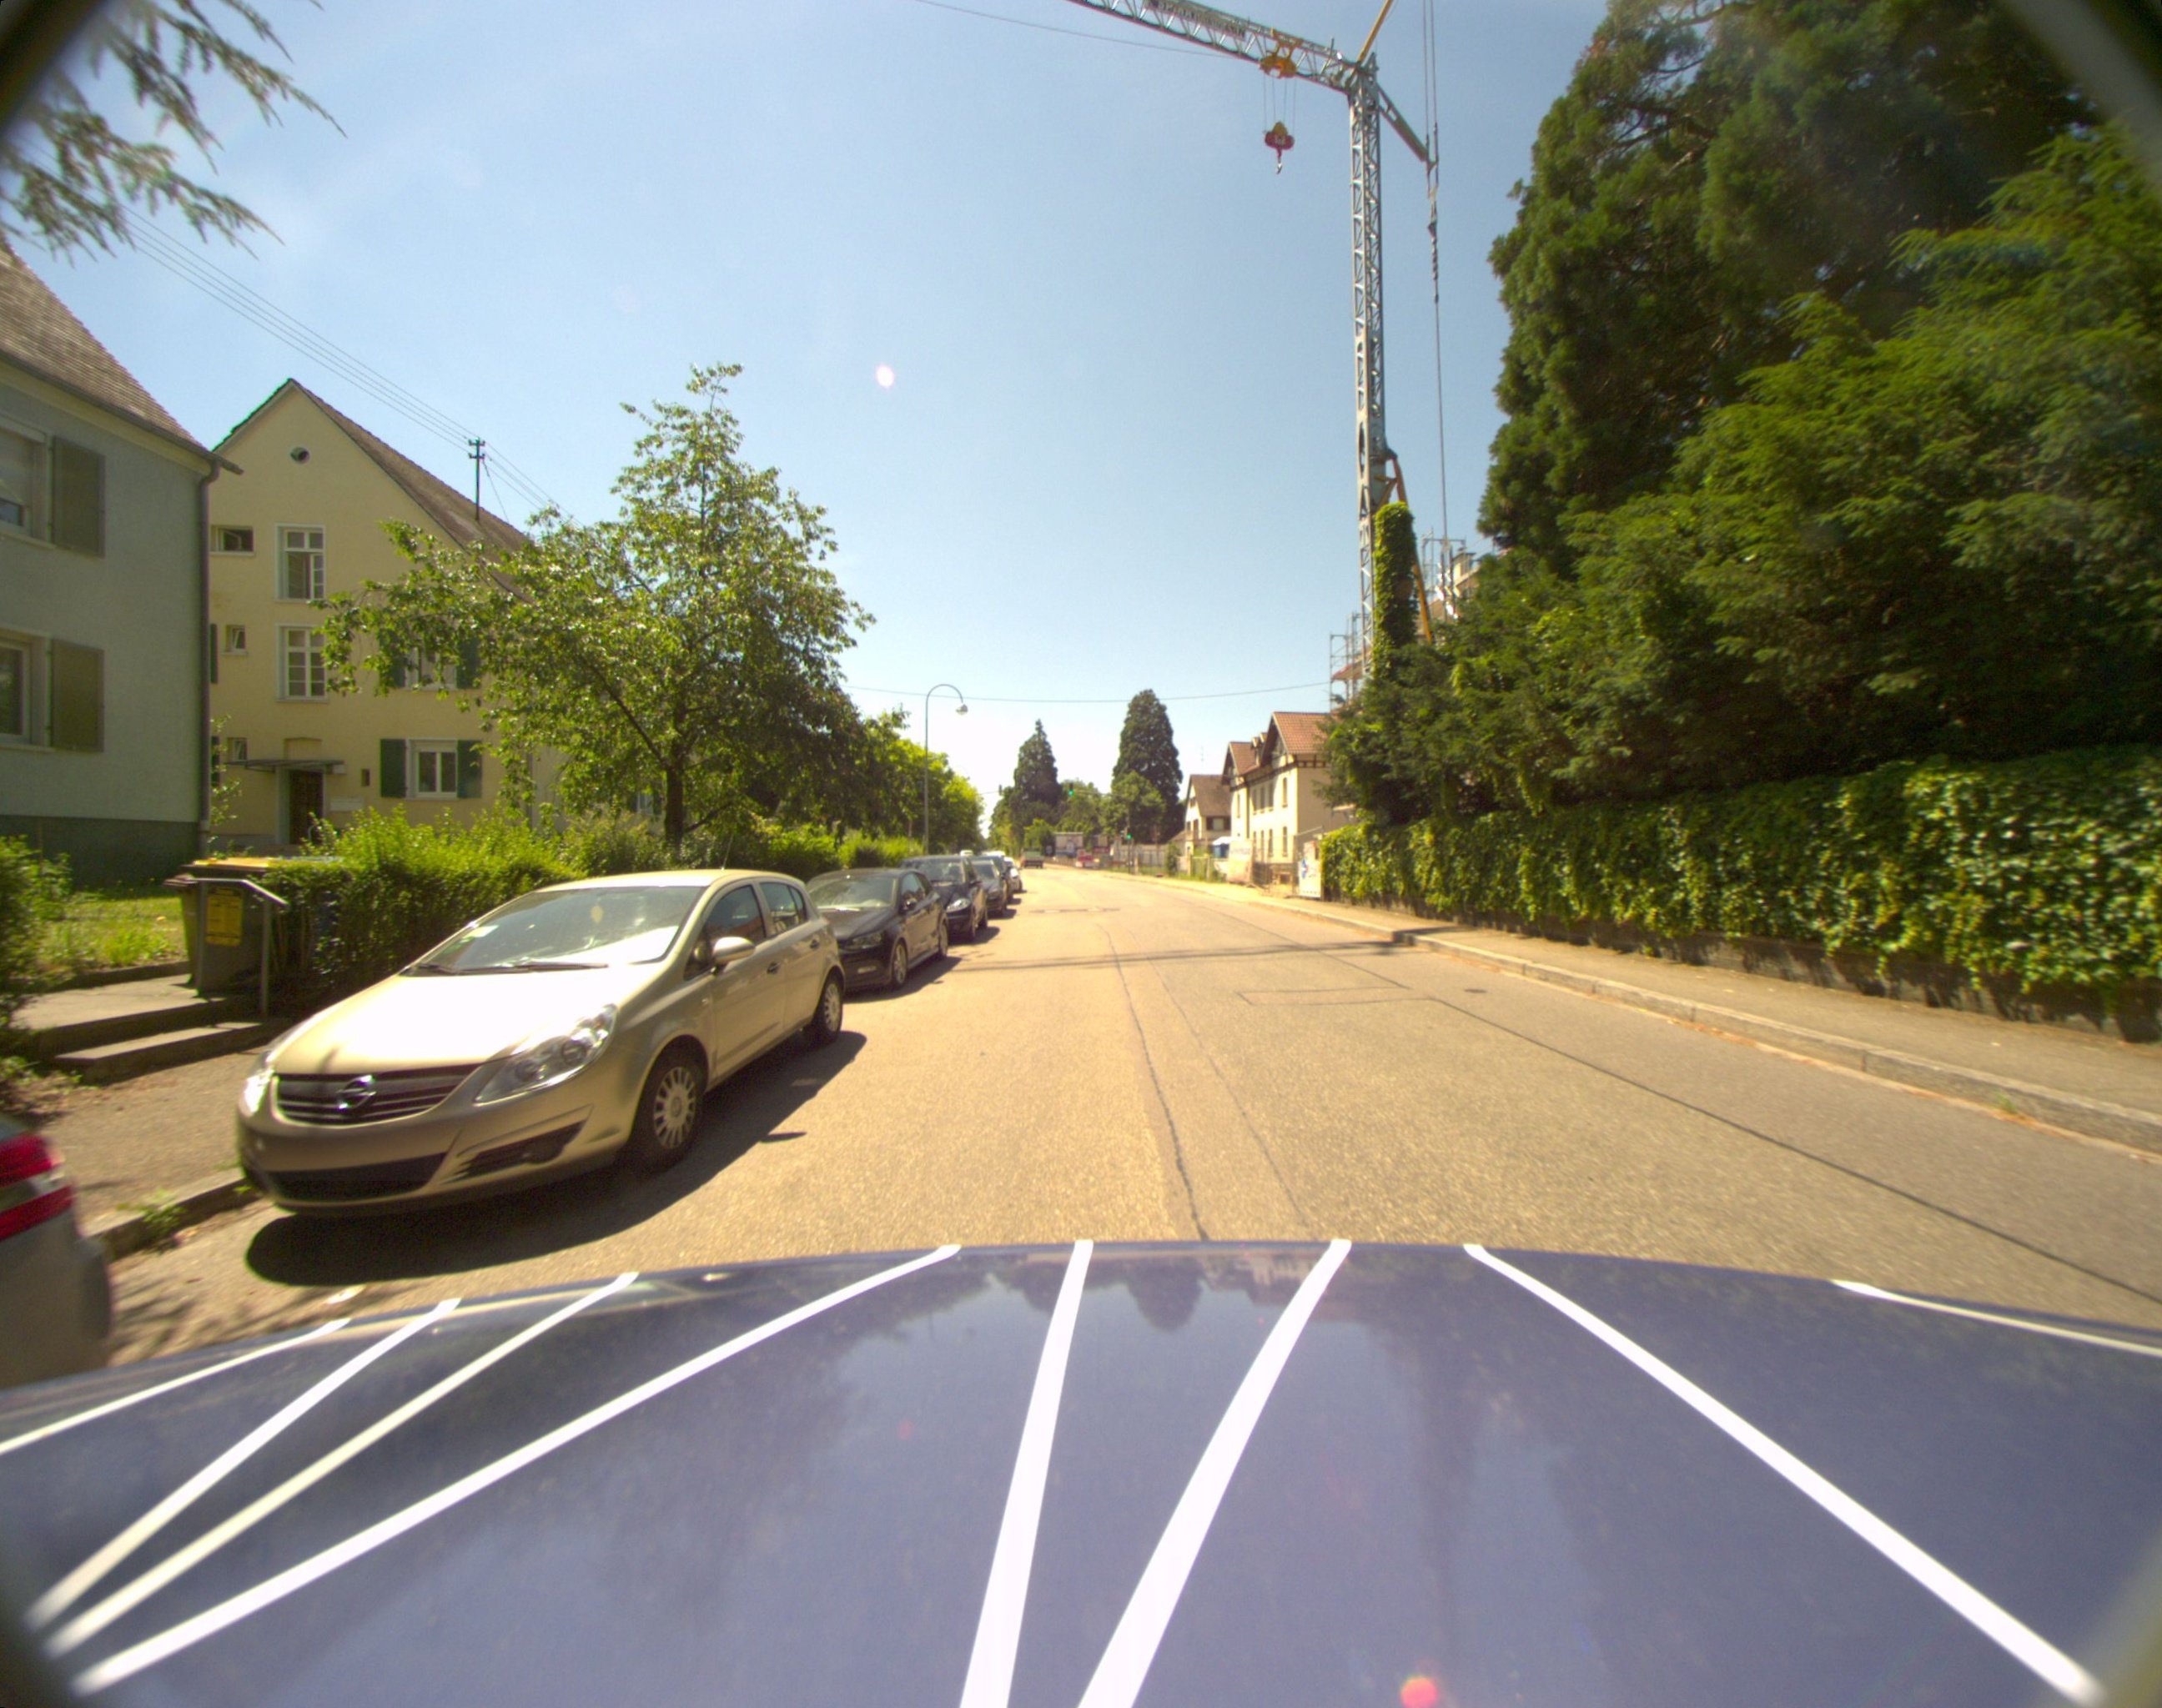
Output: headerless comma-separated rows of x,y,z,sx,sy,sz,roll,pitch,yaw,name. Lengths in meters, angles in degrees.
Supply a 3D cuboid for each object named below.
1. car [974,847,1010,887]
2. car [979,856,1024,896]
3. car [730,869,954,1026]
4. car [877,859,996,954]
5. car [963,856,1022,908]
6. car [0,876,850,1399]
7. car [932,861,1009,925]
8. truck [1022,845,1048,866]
-4.479,0.610,38.585,1.667,1.793,4.200,-3,1,-6,car
-3.324,0.882,32.230,1.666,1.427,4.127,-3,1,-4,car
-2.831,1.023,9.951,1.585,1.435,4.007,-4,1,0,car
-2.681,0.897,14.887,1.585,1.566,4.008,-1,0,-1,car
-2.976,0.893,26.228,1.666,1.529,4.202,-2,1,-2,car
-2.866,1.018,4.592,1.619,1.504,4.063,-4,1,0,car
-2.831,0.955,20.224,1.666,1.423,4.202,-1,0,-4,car
-5.154,0.174,84.191,2.135,2.325,6.429,0,0,-9,truck
